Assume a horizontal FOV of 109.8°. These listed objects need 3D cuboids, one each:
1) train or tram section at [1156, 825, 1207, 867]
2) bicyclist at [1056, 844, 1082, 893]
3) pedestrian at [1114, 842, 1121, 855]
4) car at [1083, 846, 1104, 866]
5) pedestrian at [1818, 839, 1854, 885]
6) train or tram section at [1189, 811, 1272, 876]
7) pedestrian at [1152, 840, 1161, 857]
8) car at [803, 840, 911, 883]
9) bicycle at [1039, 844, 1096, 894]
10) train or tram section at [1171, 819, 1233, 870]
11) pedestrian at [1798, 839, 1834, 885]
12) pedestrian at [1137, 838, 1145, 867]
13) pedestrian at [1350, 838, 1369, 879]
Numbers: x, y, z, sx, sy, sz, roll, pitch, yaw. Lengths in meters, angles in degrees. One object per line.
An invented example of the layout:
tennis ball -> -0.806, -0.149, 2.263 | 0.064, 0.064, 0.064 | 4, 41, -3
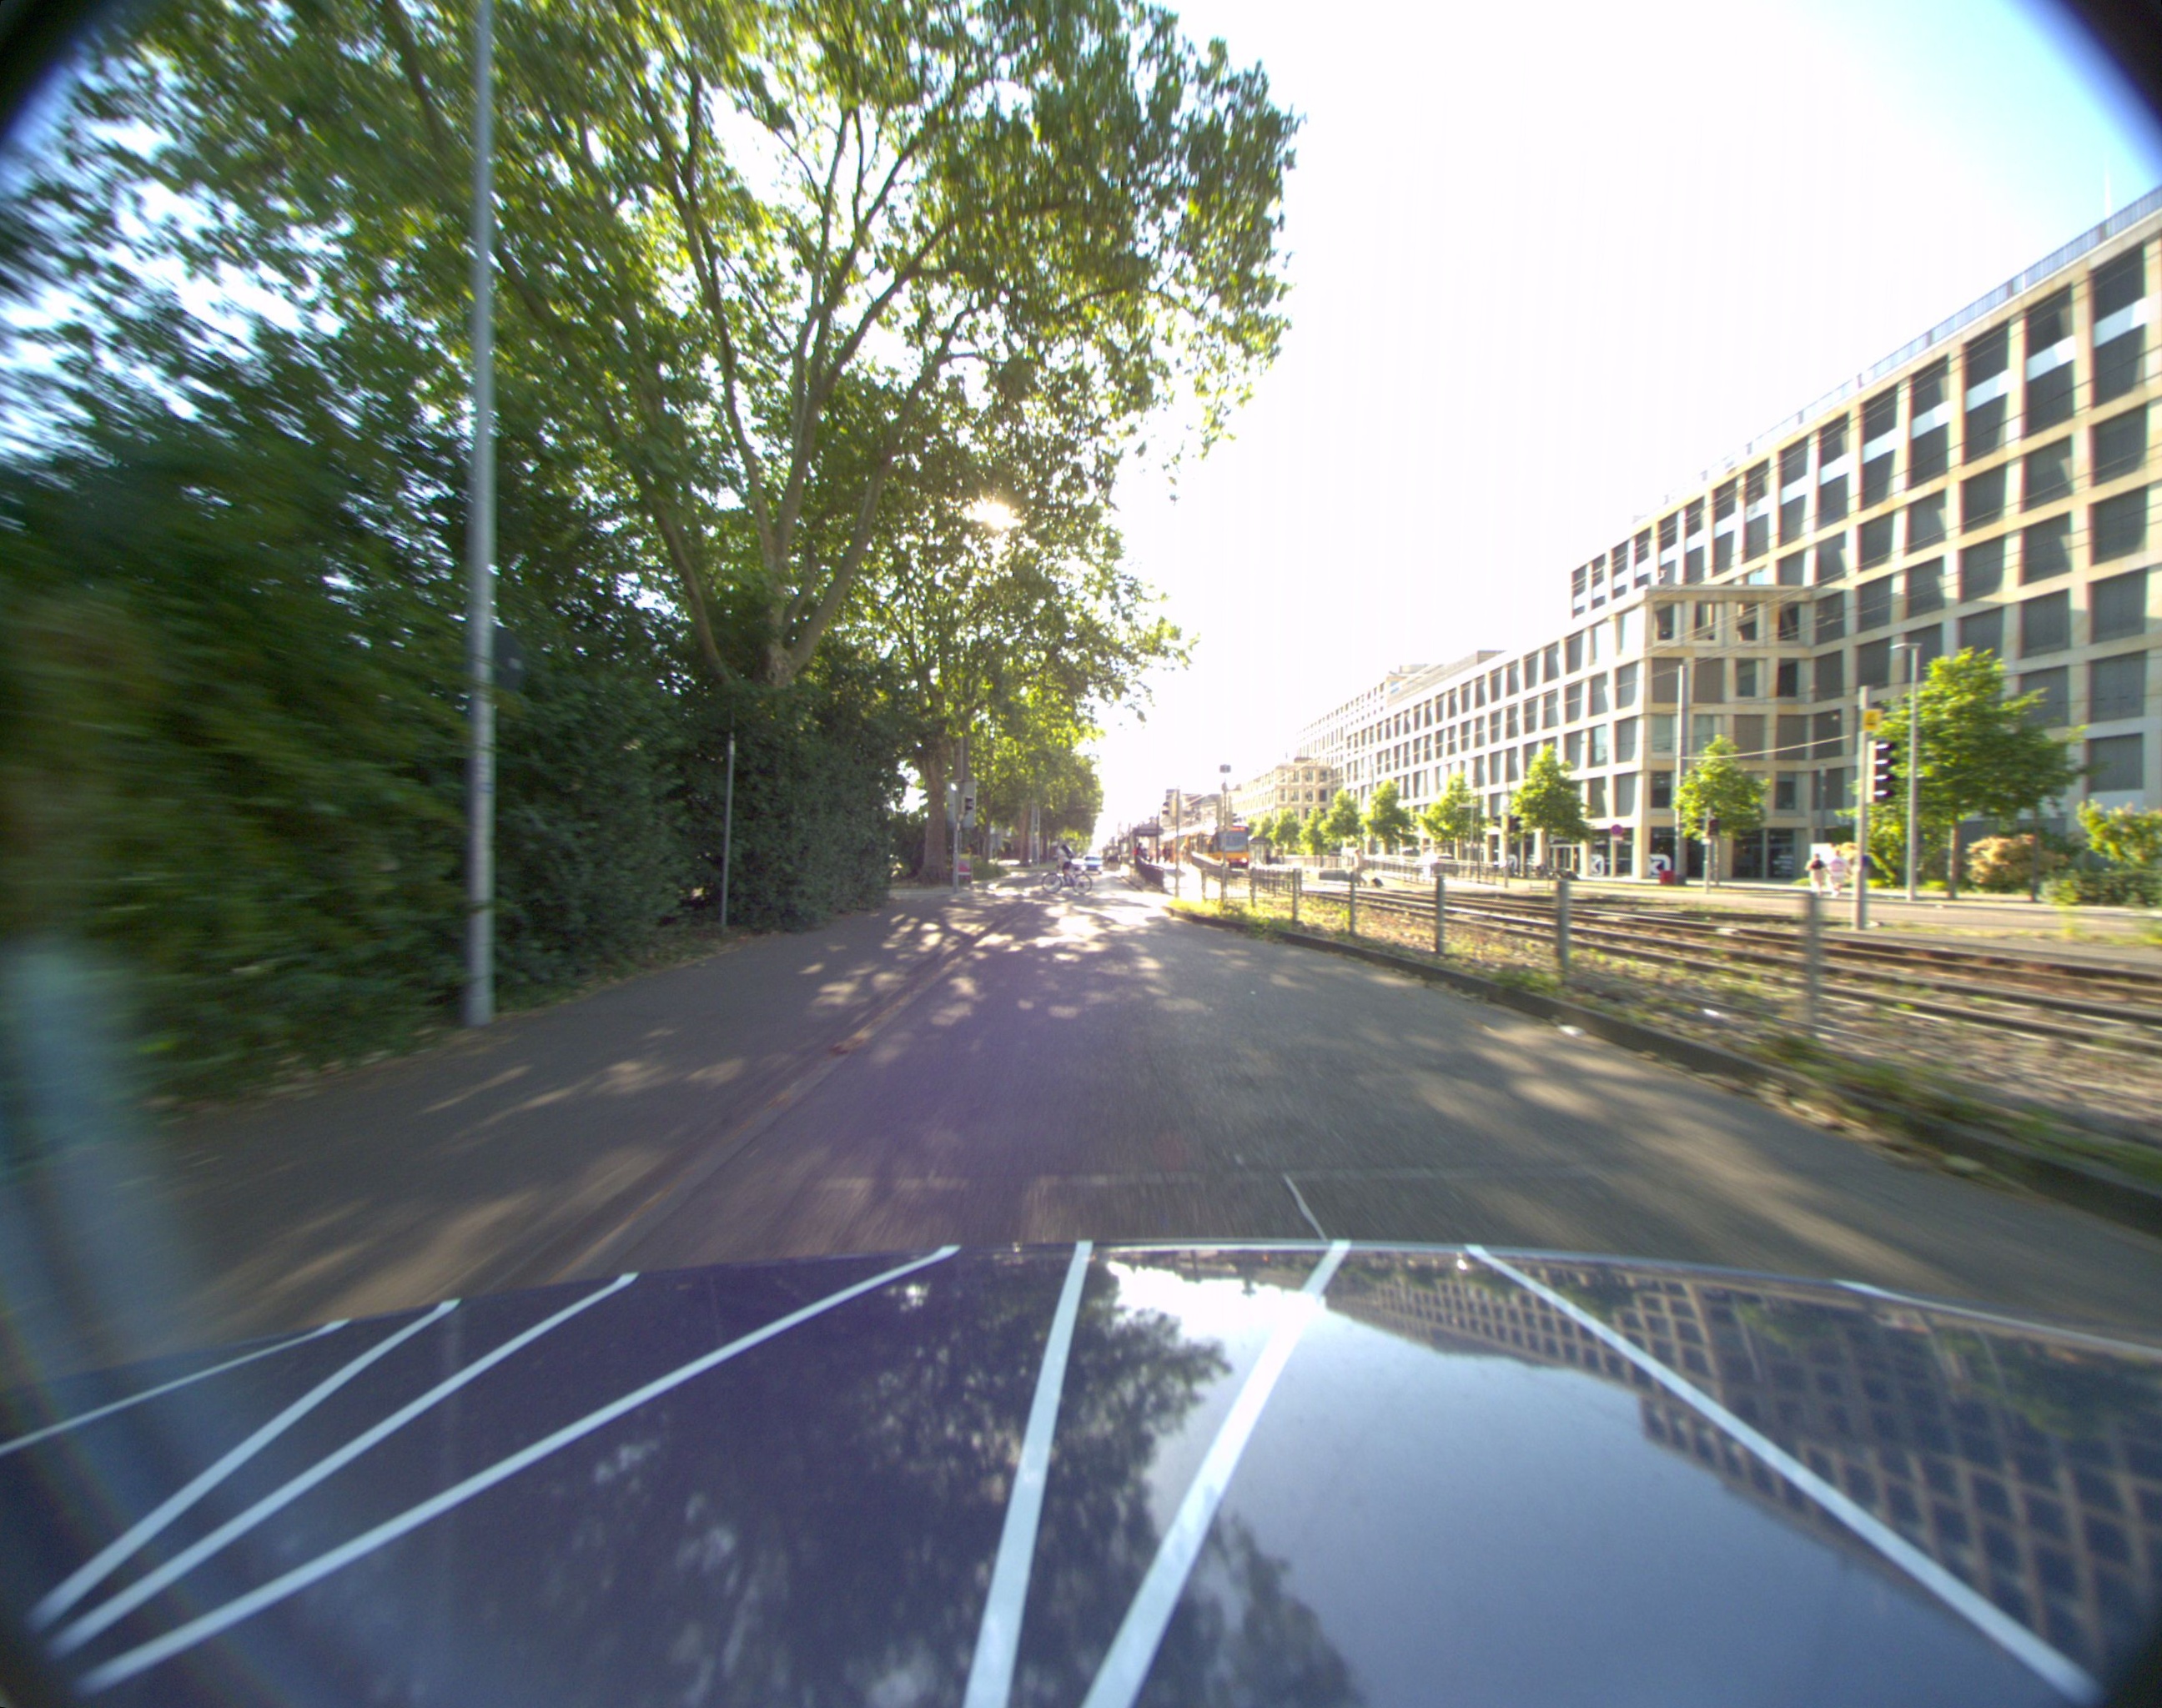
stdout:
train or tram section -> 9.899, -0.774, 76.538 | 3.317, 3.807, 14.218 | 0, 0, 0
bicyclist -> -0.421, 0.503, 26.559 | 0.909, 1.707, 0.771 | 0, 1, -2
pedestrian -> 4.519, -0.700, 94.101 | 0.614, 1.633, 0.612 | 0, 1, -19
car -> 0.973, 0.151, 61.538 | 1.649, 1.555, 3.666 | 1, 0, 0
pedestrian -> 28.523, 0.303, 28.706 | 0.665, 1.707, 0.671 | 0, 1, -1
train or tram section -> 9.721, -0.659, 51.172 | 3.317, 3.807, 11.842 | 0, 0, 0
pedestrian -> 7.799, -0.574, 78.594 | 0.795, 1.774, 0.625 | 1, 1, 1
car -> -9.465, 0.310, 32.299 | 3.996, 1.754, 1.833 | 1, 1, 1
bicycle -> -0.472, 0.521, 26.520 | 1.972, 1.707, 0.591 | 0, 1, -1
train or tram section -> 9.809, -0.710, 63.204 | 3.317, 3.807, 11.842 | 0, 0, 0
pedestrian -> 27.708, 0.300, 28.646 | 0.665, 1.707, 0.671 | 0, 1, -1
pedestrian -> 3.582, -0.097, 45.528 | 0.413, 1.707, 0.665 | 0, 1, 1
pedestrian -> 11.849, 0.181, 32.348 | 0.670, 1.707, 0.725 | 1, 1, 12
